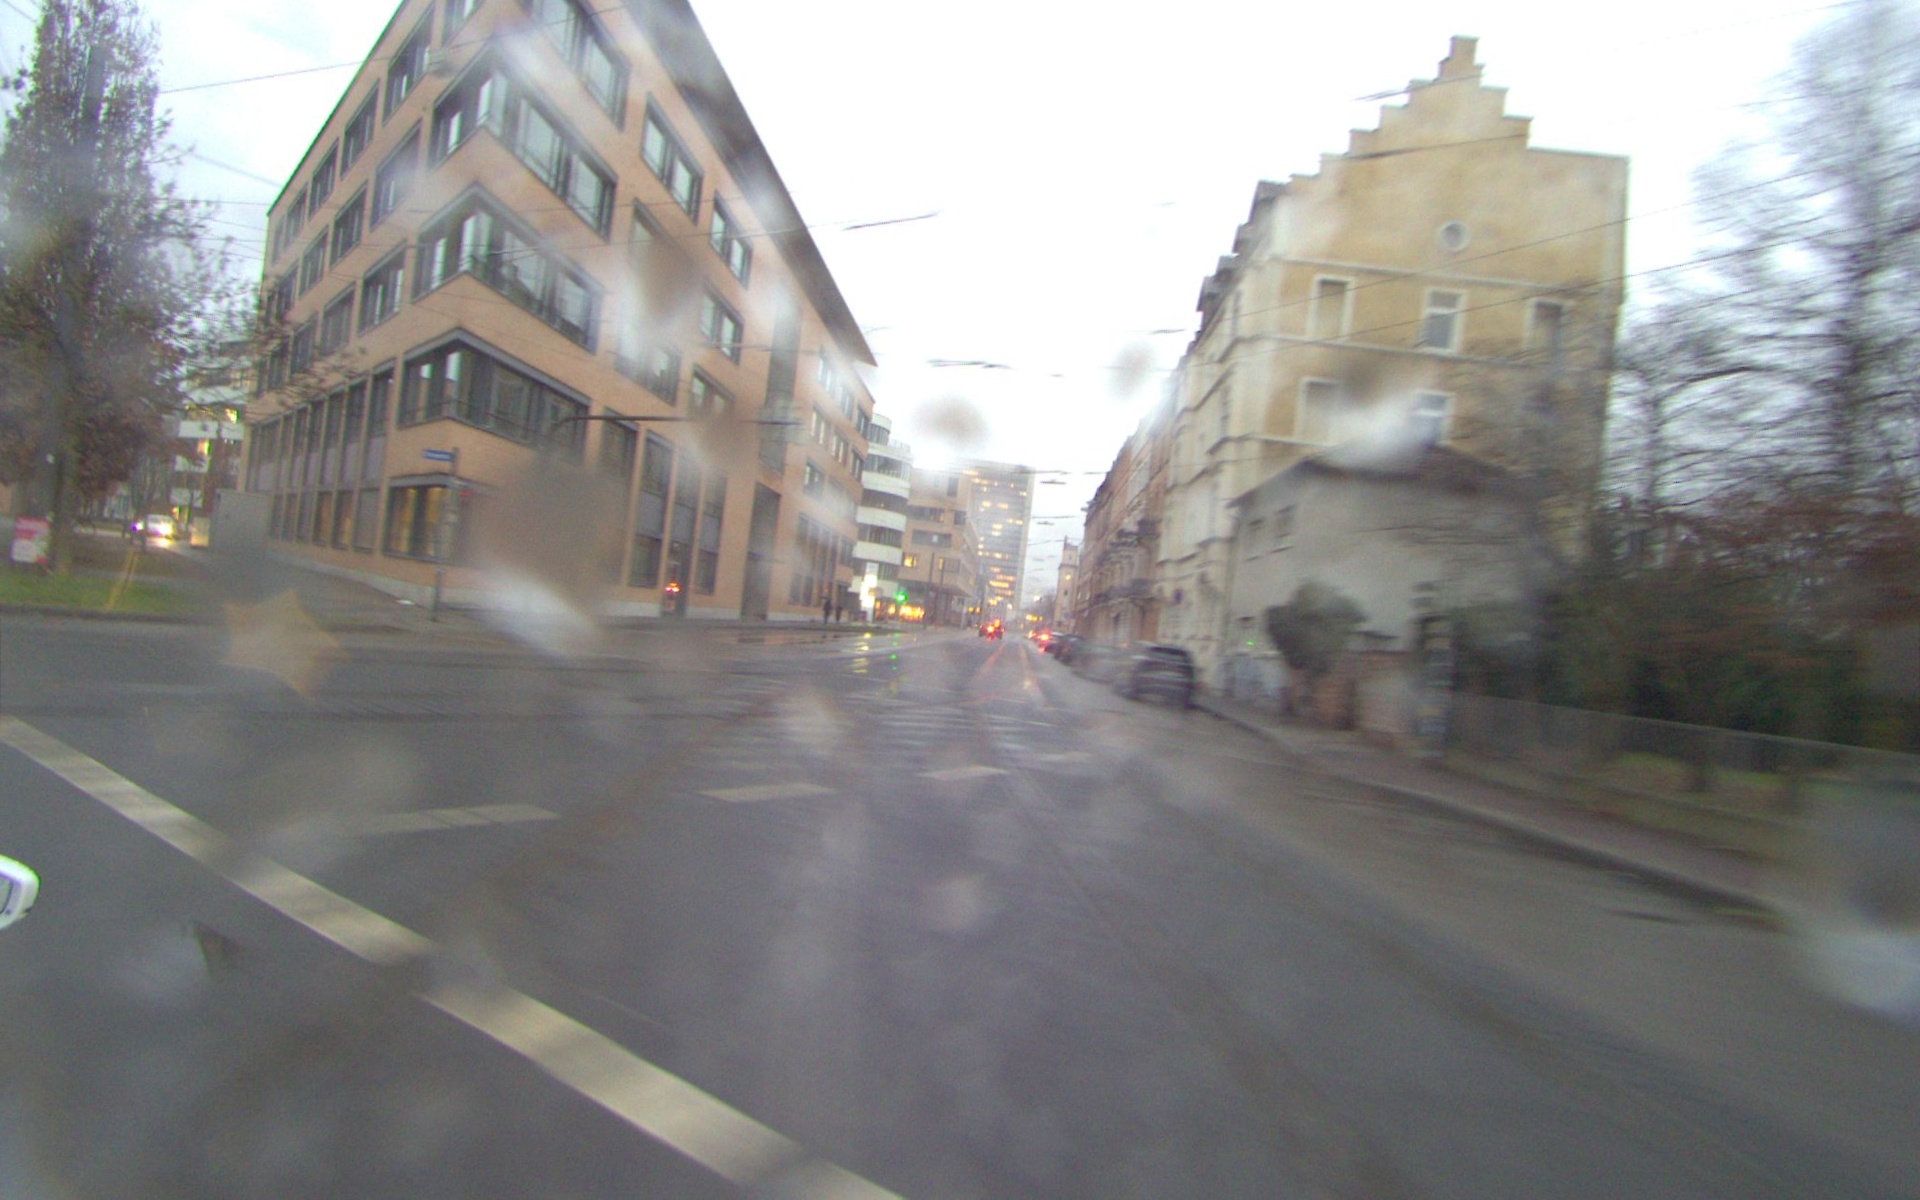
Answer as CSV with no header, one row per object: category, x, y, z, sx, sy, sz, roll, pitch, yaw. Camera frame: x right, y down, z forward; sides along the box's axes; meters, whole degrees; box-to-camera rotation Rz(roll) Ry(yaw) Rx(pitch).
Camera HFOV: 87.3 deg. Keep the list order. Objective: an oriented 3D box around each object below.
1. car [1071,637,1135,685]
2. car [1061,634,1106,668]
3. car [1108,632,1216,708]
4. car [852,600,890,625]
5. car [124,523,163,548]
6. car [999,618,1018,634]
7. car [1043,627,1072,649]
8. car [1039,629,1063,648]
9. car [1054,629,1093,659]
car,5.538,2.351,39.429,1.962,1.458,4.514,7,-1,4
car,6.502,2.672,53.525,1.962,1.458,4.514,7,-1,4
car,5.633,1.909,28.683,1.963,1.690,4.512,7,-1,0
car,-6.348,0.894,71.941,1.962,1.458,3.927,7,-1,4
car,-50.601,-4.006,62.308,1.661,1.195,3.665,8,-1,-41
car,5.485,2.941,113.223,1.962,1.458,4.514,7,-1,4
car,7.811,3.003,80.739,1.962,1.458,4.514,7,-1,4
car,8.470,3.623,94.376,1.962,1.458,4.514,7,-1,4
car,6.798,2.588,60.496,1.962,1.458,4.514,7,-1,4
